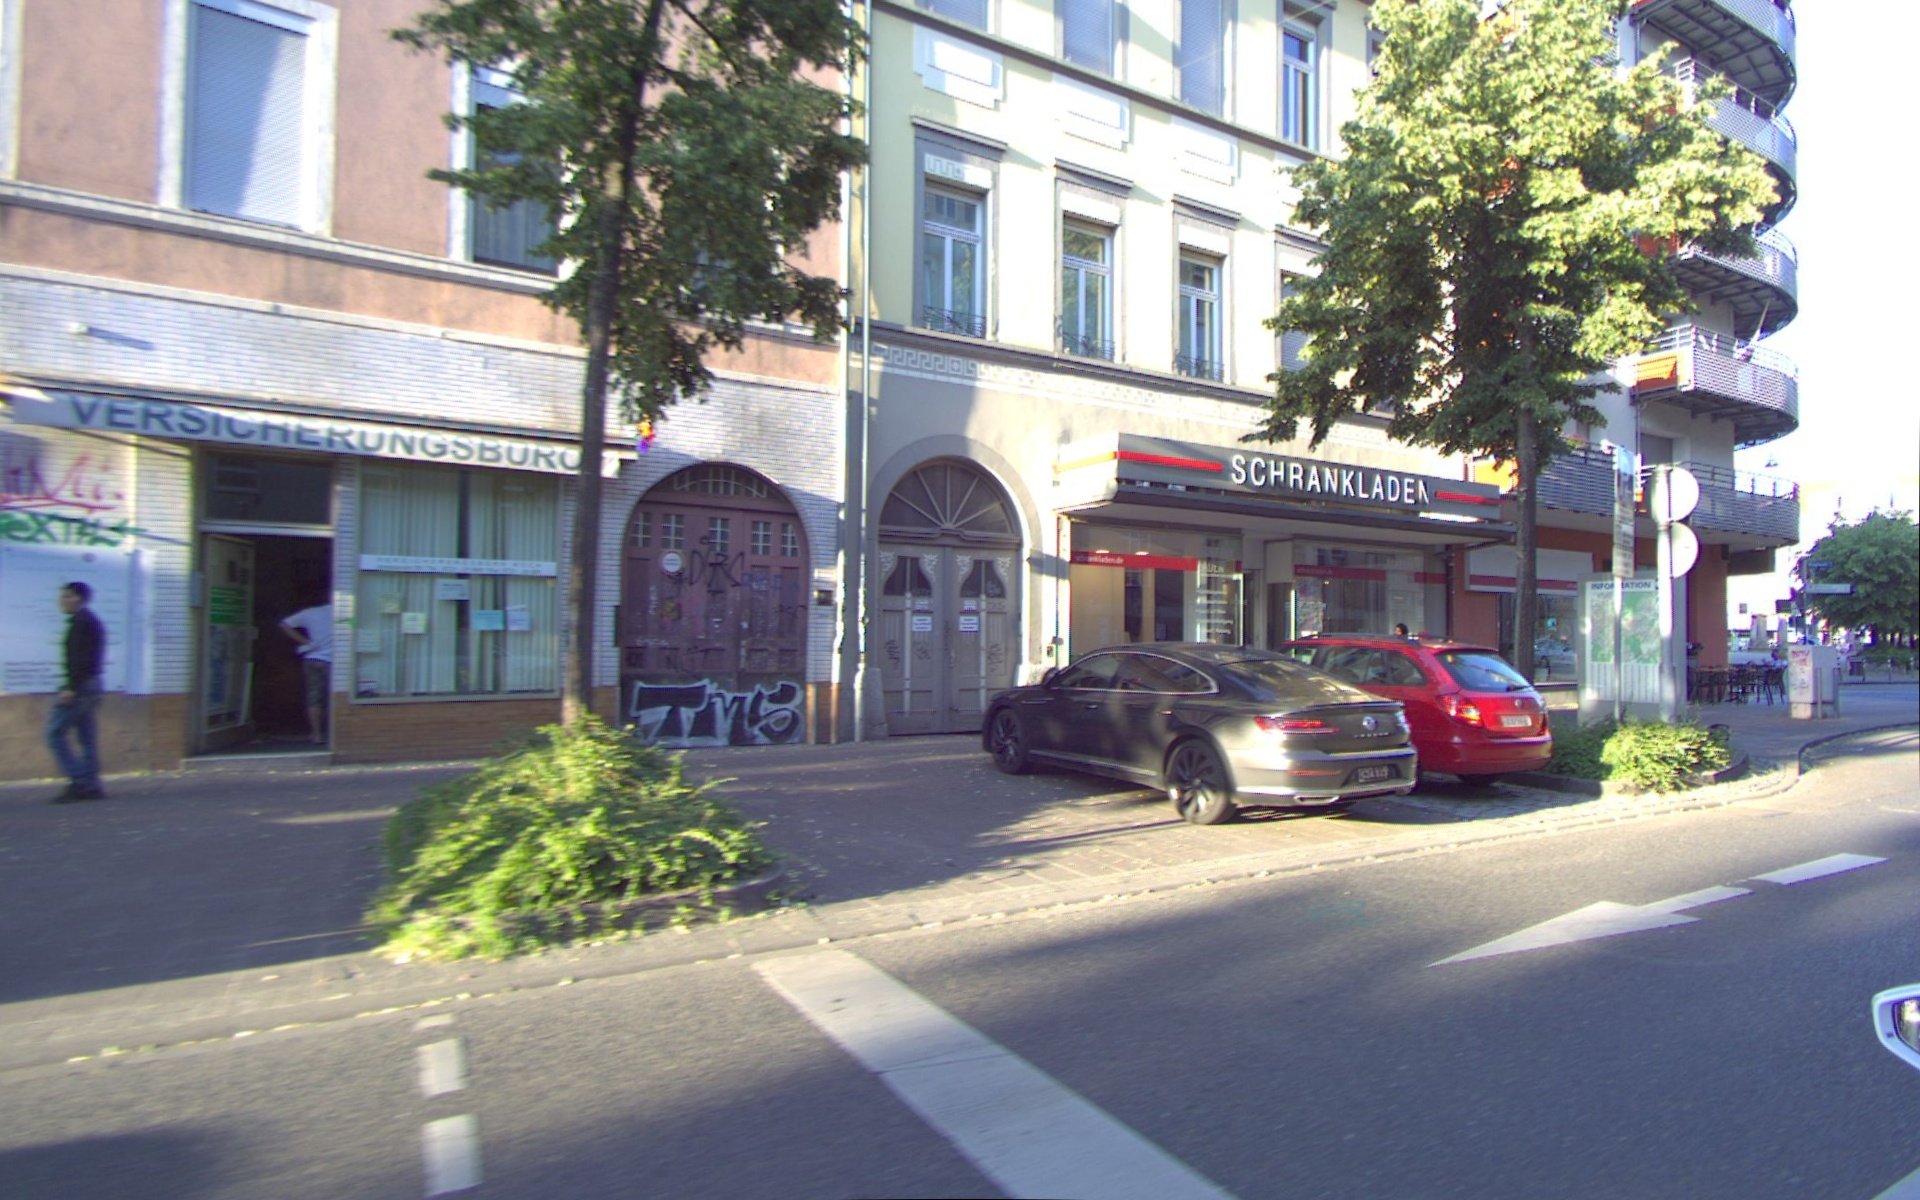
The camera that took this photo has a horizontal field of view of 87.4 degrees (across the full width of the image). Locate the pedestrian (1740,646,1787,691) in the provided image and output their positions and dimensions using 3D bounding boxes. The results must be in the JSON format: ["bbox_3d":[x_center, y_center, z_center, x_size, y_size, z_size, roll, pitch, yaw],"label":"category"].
[{"bbox_3d":[22.957,1.957,28.701,0.761,1.258,0.891,3,-3,-38],"label":"pedestrian"}]

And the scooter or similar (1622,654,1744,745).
[{"bbox_3d":[10.767,1.455,15.003,0.520,1.242,1.390,1,-1,-32],"label":"scooter or similar"}]

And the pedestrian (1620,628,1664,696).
[{"bbox_3d":[16.498,1.499,24.307,0.741,1.615,0.594,3,-3,-28],"label":"pedestrian"}]

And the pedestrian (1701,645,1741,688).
[{"bbox_3d":[22.638,1.980,29.884,0.821,1.263,0.717,3,-3,-36],"label":"pedestrian"}]

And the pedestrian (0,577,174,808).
[{"bbox_3d":[-7.041,0.716,8.144,0.865,1.744,0.768,3,-1,-29],"label":"pedestrian"}]

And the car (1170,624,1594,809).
[{"bbox_3d":[4.397,1.094,11.119,1.861,1.557,4.054,1,-1,-29],"label":"car"}]

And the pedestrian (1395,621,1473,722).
[{"bbox_3d":[7.594,1.129,16.104,0.865,1.548,0.731,3,-1,-29],"label":"pedestrian"}]

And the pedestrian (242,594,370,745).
[{"bbox_3d":[-7.022,0.729,10.836,0.804,1.538,0.874,2,-1,-10],"label":"pedestrian"}]

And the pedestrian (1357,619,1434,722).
[{"bbox_3d":[7.174,1.150,16.560,0.865,1.629,0.768,3,-1,-29],"label":"pedestrian"}]

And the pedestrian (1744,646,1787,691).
[{"bbox_3d":[23.460,1.997,29.266,0.742,1.289,0.820,3,-3,-38],"label":"pedestrian"}]

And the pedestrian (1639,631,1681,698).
[{"bbox_3d":[17.362,1.598,24.918,0.693,1.615,0.594,3,-3,-28],"label":"pedestrian"}]

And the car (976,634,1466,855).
[{"bbox_3d":[2.105,1.097,9.485,1.800,1.426,4.547,1,-1,-31],"label":"car"}]
